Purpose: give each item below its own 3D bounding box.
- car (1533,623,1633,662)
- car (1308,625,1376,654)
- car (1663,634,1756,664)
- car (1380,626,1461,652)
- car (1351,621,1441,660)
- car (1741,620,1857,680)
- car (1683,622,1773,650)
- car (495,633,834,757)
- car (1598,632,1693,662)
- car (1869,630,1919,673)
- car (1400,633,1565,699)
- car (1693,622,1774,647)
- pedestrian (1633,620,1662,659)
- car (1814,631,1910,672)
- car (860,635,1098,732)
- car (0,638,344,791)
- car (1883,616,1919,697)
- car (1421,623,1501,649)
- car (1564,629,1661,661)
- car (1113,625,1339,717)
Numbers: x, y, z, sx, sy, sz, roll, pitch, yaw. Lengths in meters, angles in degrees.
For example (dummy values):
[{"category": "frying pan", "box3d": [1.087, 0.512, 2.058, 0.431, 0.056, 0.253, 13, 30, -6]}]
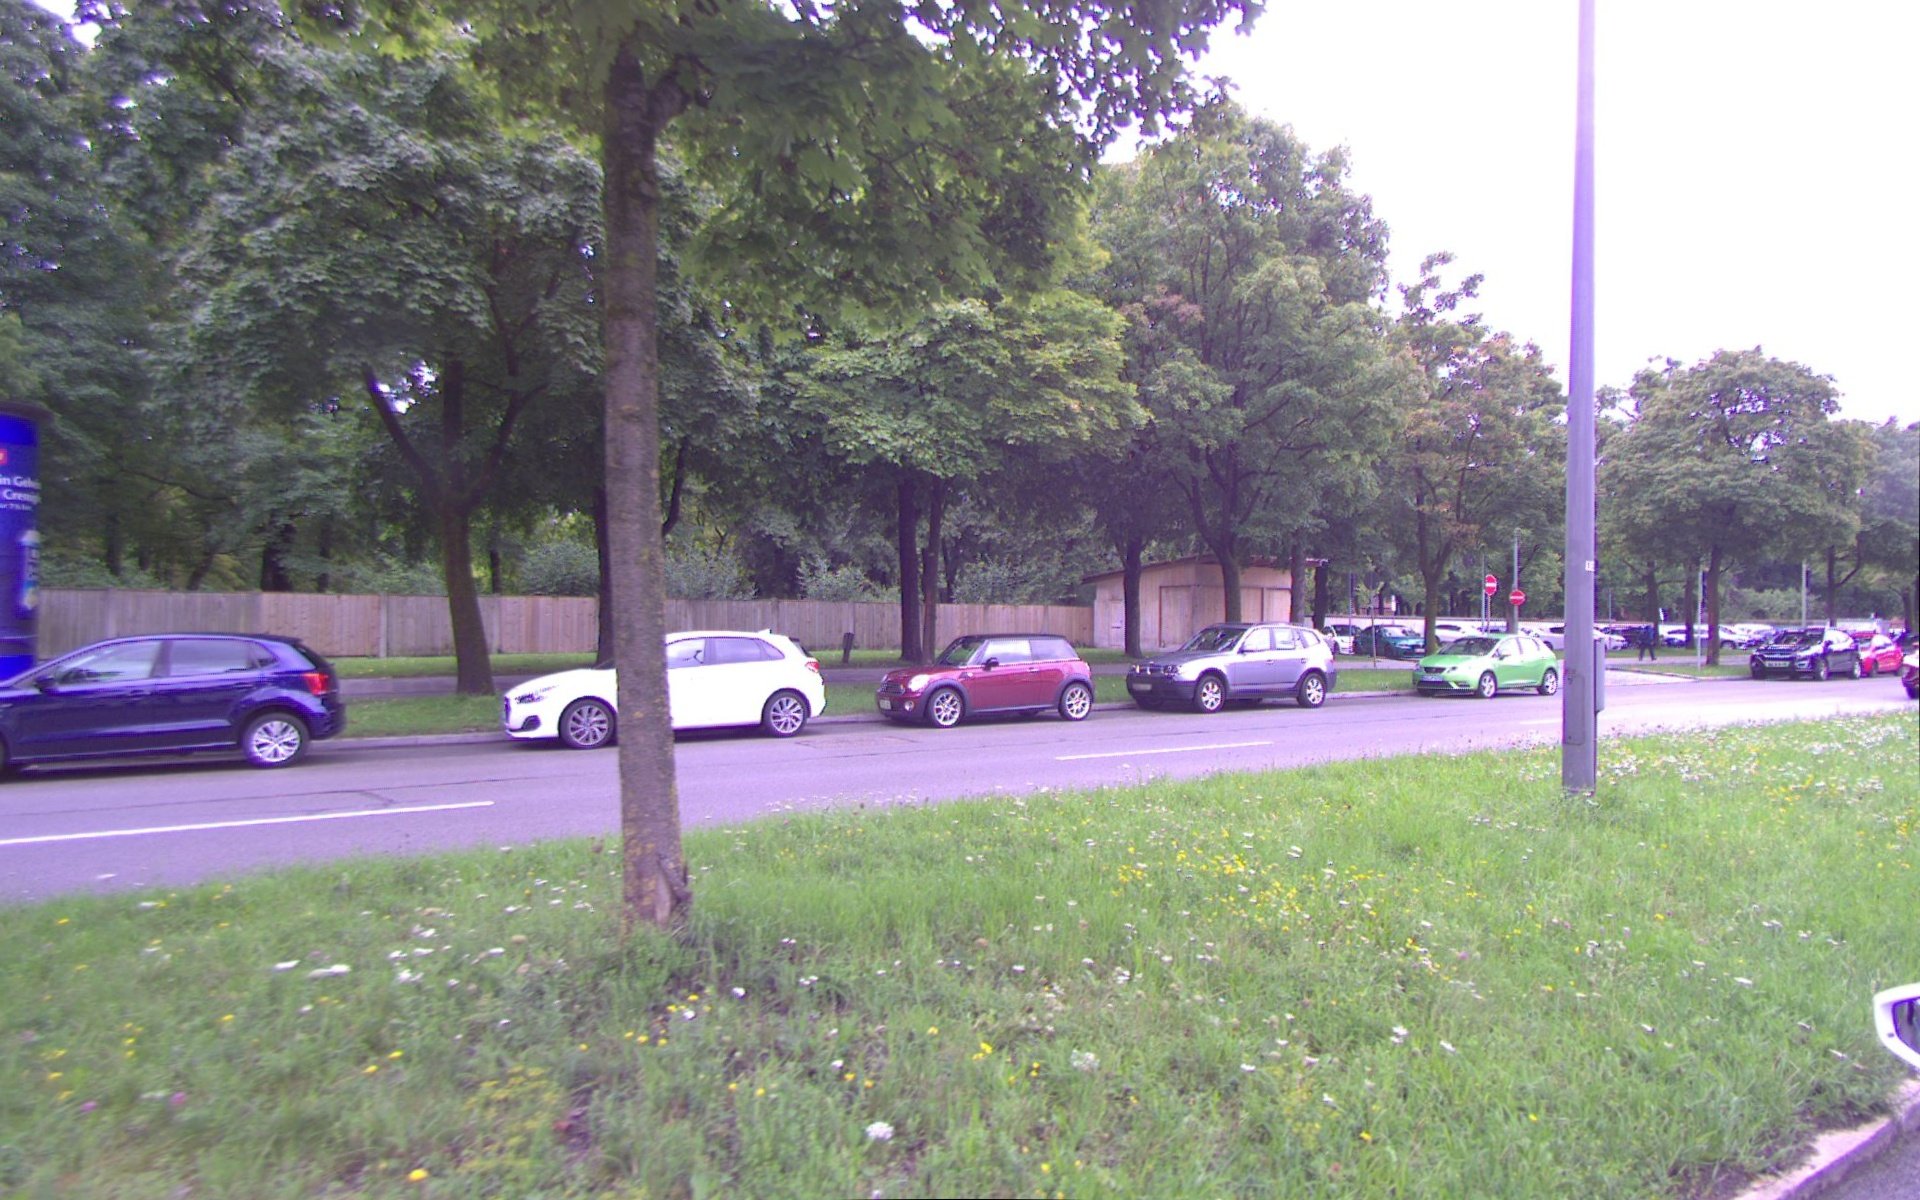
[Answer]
[{"category": "car", "box3d": [30.864, 2.063, 49.851, 1.656, 1.740, 3.893, 1, 0, -35]}, {"category": "car", "box3d": [17.938, 1.826, 47.400, 1.639, 1.217, 4.421, 2, -1, 2]}, {"category": "car", "box3d": [41.630, 2.685, 55.882, 1.656, 1.465, 3.841, 1, 0, -35]}, {"category": "car", "box3d": [29.419, 2.488, 64.353, 1.652, 1.465, 4.672, 1, 0, -28]}, {"category": "car", "box3d": [18.073, 1.639, 41.878, 1.922, 1.465, 4.421, 2, 0, 2]}, {"category": "car", "box3d": [26.910, 1.572, 32.204, 3.835, 1.764, 1.708, 1, 0, -31]}, {"category": "car", "box3d": [44.156, 2.066, 57.813, 1.656, 1.465, 3.841, 1, 0, -35]}, {"category": "car", "box3d": [-3.991, 1.202, 13.787, 4.229, 1.463, 1.600, 1, -2, -31]}, {"category": "car", "box3d": [36.675, 2.489, 53.817, 1.656, 1.465, 3.841, 1, 0, -35]}, {"category": "car", "box3d": [35.498, 1.888, 37.224, 3.835, 1.465, 1.659, 1, 0, -31]}, {"category": "car", "box3d": [12.290, 1.508, 23.578, 3.830, 1.428, 1.542, 1, -2, -28]}, {"category": "car", "box3d": [50.114, 2.211, 65.119, 1.656, 1.465, 3.841, 1, 0, -35]}, {"category": "pedestrian", "box3d": [28.053, 1.616, 40.993, 0.712, 1.554, 0.724, 1, 0, -29]}, {"category": "car", "box3d": [31.570, 1.791, 35.148, 3.342, 1.329, 1.582, 1, 0, -31]}, {"category": "car", "box3d": [0.326, 1.294, 16.390, 3.586, 1.415, 1.584, 1, -2, -29]}, {"category": "car", "box3d": [-8.813, 1.135, 10.663, 3.855, 1.436, 1.604, 1, -3, -33]}, {"category": "car", "box3d": [22.475, 1.224, 22.158, 4.195, 1.718, 1.895, 1, -3, -30]}, {"category": "car", "box3d": [32.217, 2.286, 64.702, 1.652, 1.496, 4.486, 2, -1, -29]}, {"category": "car", "box3d": [33.339, 2.264, 51.381, 1.656, 1.465, 3.841, 1, 0, -35]}, {"category": "car", "box3d": [5.150, 1.294, 19.310, 4.321, 1.607, 1.682, 1, -2, -31]}]
